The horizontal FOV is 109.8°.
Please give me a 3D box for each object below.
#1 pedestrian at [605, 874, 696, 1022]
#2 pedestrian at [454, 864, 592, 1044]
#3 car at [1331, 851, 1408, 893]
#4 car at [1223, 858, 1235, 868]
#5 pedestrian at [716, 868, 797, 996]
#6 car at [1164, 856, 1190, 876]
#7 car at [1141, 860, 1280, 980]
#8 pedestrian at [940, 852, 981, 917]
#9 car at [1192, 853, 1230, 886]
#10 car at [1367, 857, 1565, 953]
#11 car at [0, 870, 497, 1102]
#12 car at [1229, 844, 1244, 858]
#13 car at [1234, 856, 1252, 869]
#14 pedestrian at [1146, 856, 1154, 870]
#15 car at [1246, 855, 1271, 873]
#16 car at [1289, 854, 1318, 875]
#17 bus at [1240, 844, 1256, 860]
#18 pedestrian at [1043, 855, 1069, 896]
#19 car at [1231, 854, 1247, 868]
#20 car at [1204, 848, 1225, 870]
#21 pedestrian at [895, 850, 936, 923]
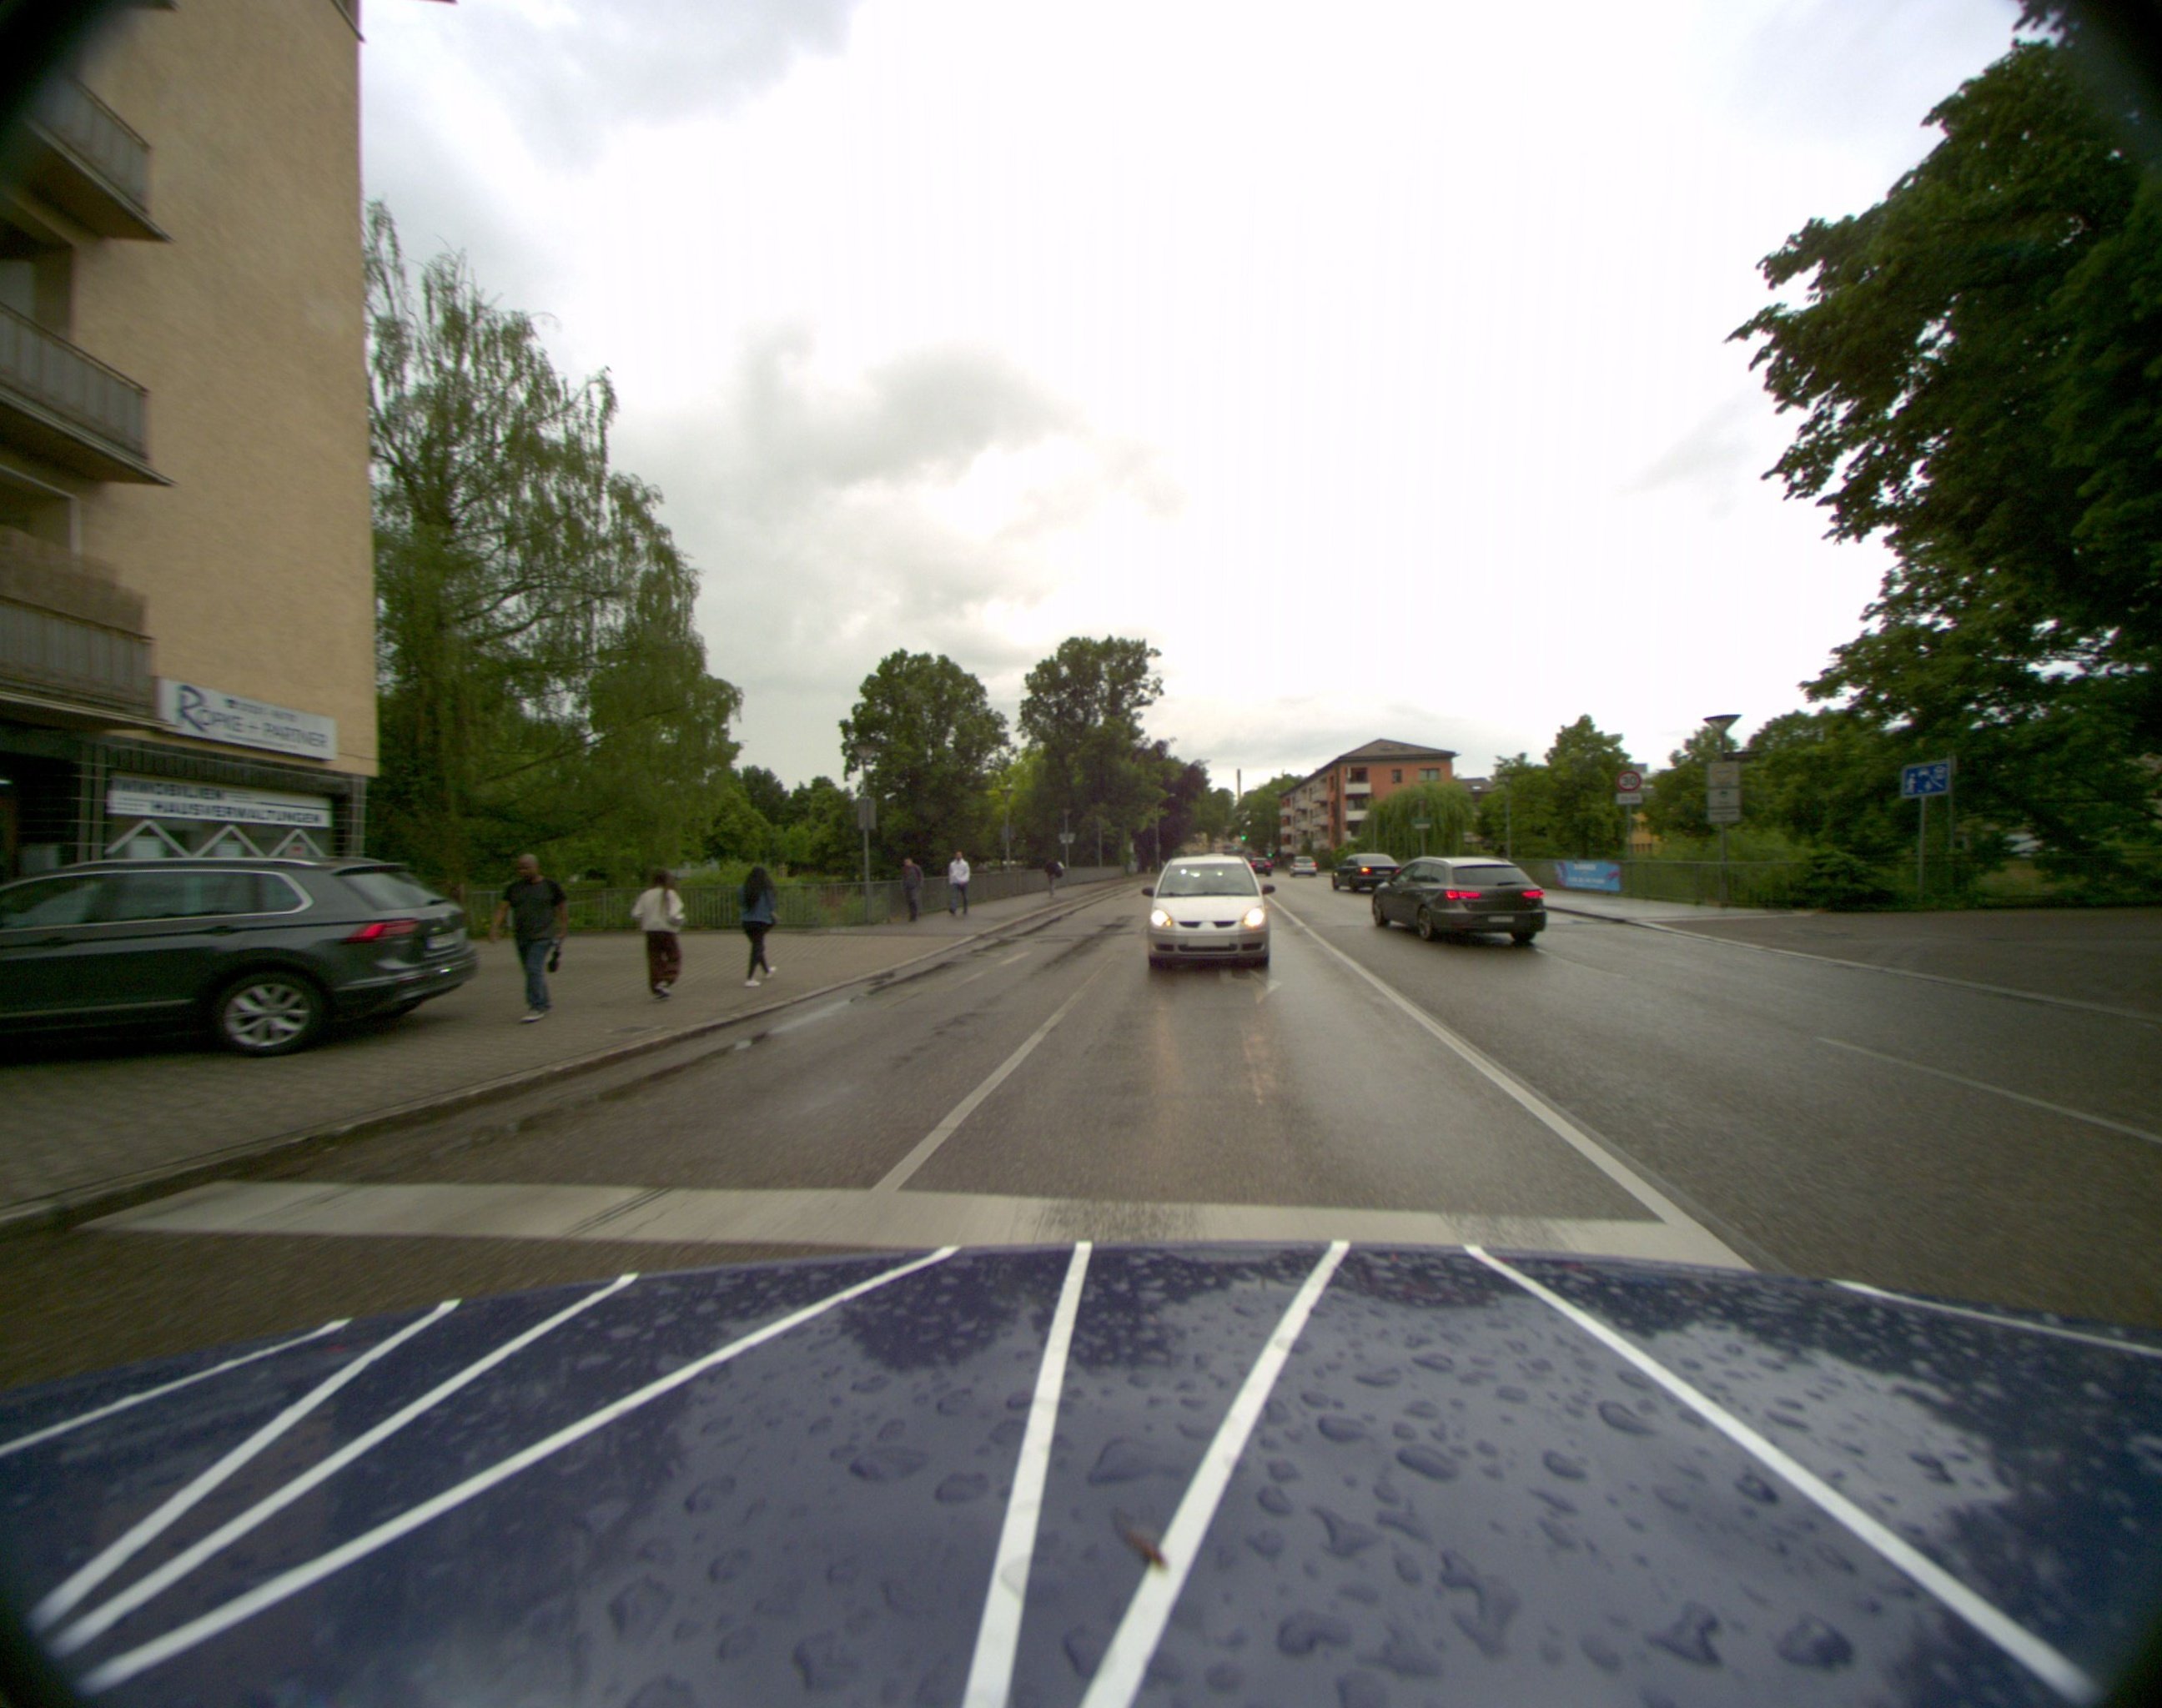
[{"bbox_3d":[-4.834,1.011,8.581,0.764,1.565,0.780,1,0,-20],"label":"pedestrian"},{"bbox_3d":[-5.515,0.940,7.547,0.762,1.667,0.782,0,0,10],"label":"pedestrian"},{"bbox_3d":[10.851,0.622,28.893,1.732,1.451,4.430,-1,1,7],"label":"car"},{"bbox_3d":[22.698,1.349,116.341,1.748,1.431,4.003,-1,0,10],"label":"car"},{"bbox_3d":[-4.248,0.989,9.999,0.658,1.591,0.796,1,1,7],"label":"pedestrian"},{"bbox_3d":[7.959,0.985,62.723,1.904,1.537,4.003,-1,0,11],"label":"car"},{"bbox_3d":[2.053,0.879,12.162,1.717,1.508,4.811,-2,-1,9],"label":"car"},{"bbox_3d":[-3.338,0.830,21.153,0.781,1.742,1.061,-1,0,9],"label":"pedestrian"},{"bbox_3d":[6.451,0.733,37.895,1.717,1.508,4.091,-2,-1,9],"label":"car"},{"bbox_3d":[6.685,0.793,13.754,1.814,1.441,4.209,-1,0,6],"label":"car"},{"bbox_3d":[-8.033,1.000,6.519,4.384,1.639,1.880,0,0,-17],"label":"car"},{"bbox_3d":[27.111,-0.434,132.372,2.293,2.295,6.515,0,-1,9],"label":"car"},{"bbox_3d":[18.316,0.945,85.972,1.784,1.394,4.222,0,-1,10],"label":"car"},{"bbox_3d":[8.114,1.034,88.878,0.849,1.666,1.168,1,1,9],"label":"pedestrian"},{"bbox_3d":[13.996,0.781,60.027,1.712,1.408,4.097,0,0,10],"label":"car"},{"bbox_3d":[16.136,0.730,55.220,1.629,1.411,3.688,-1,0,10],"label":"car"},{"bbox_3d":[33.164,-0.401,151.179,2.698,2.923,12.093,0,0,10],"label":"bus"},{"bbox_3d":[-0.980,0.829,30.025,0.864,1.609,0.840,0,1,10],"label":"pedestrian"},{"bbox_3d":[20.152,0.836,96.909,1.892,1.724,4.375,0,0,10],"label":"car"},{"bbox_3d":[13.896,0.489,78.745,2.035,2.119,4.003,-1,0,11],"label":"car"},{"bbox_3d":[-4.139,0.803,19.061,0.762,1.798,0.782,-1,0,10],"label":"pedestrian"}]
